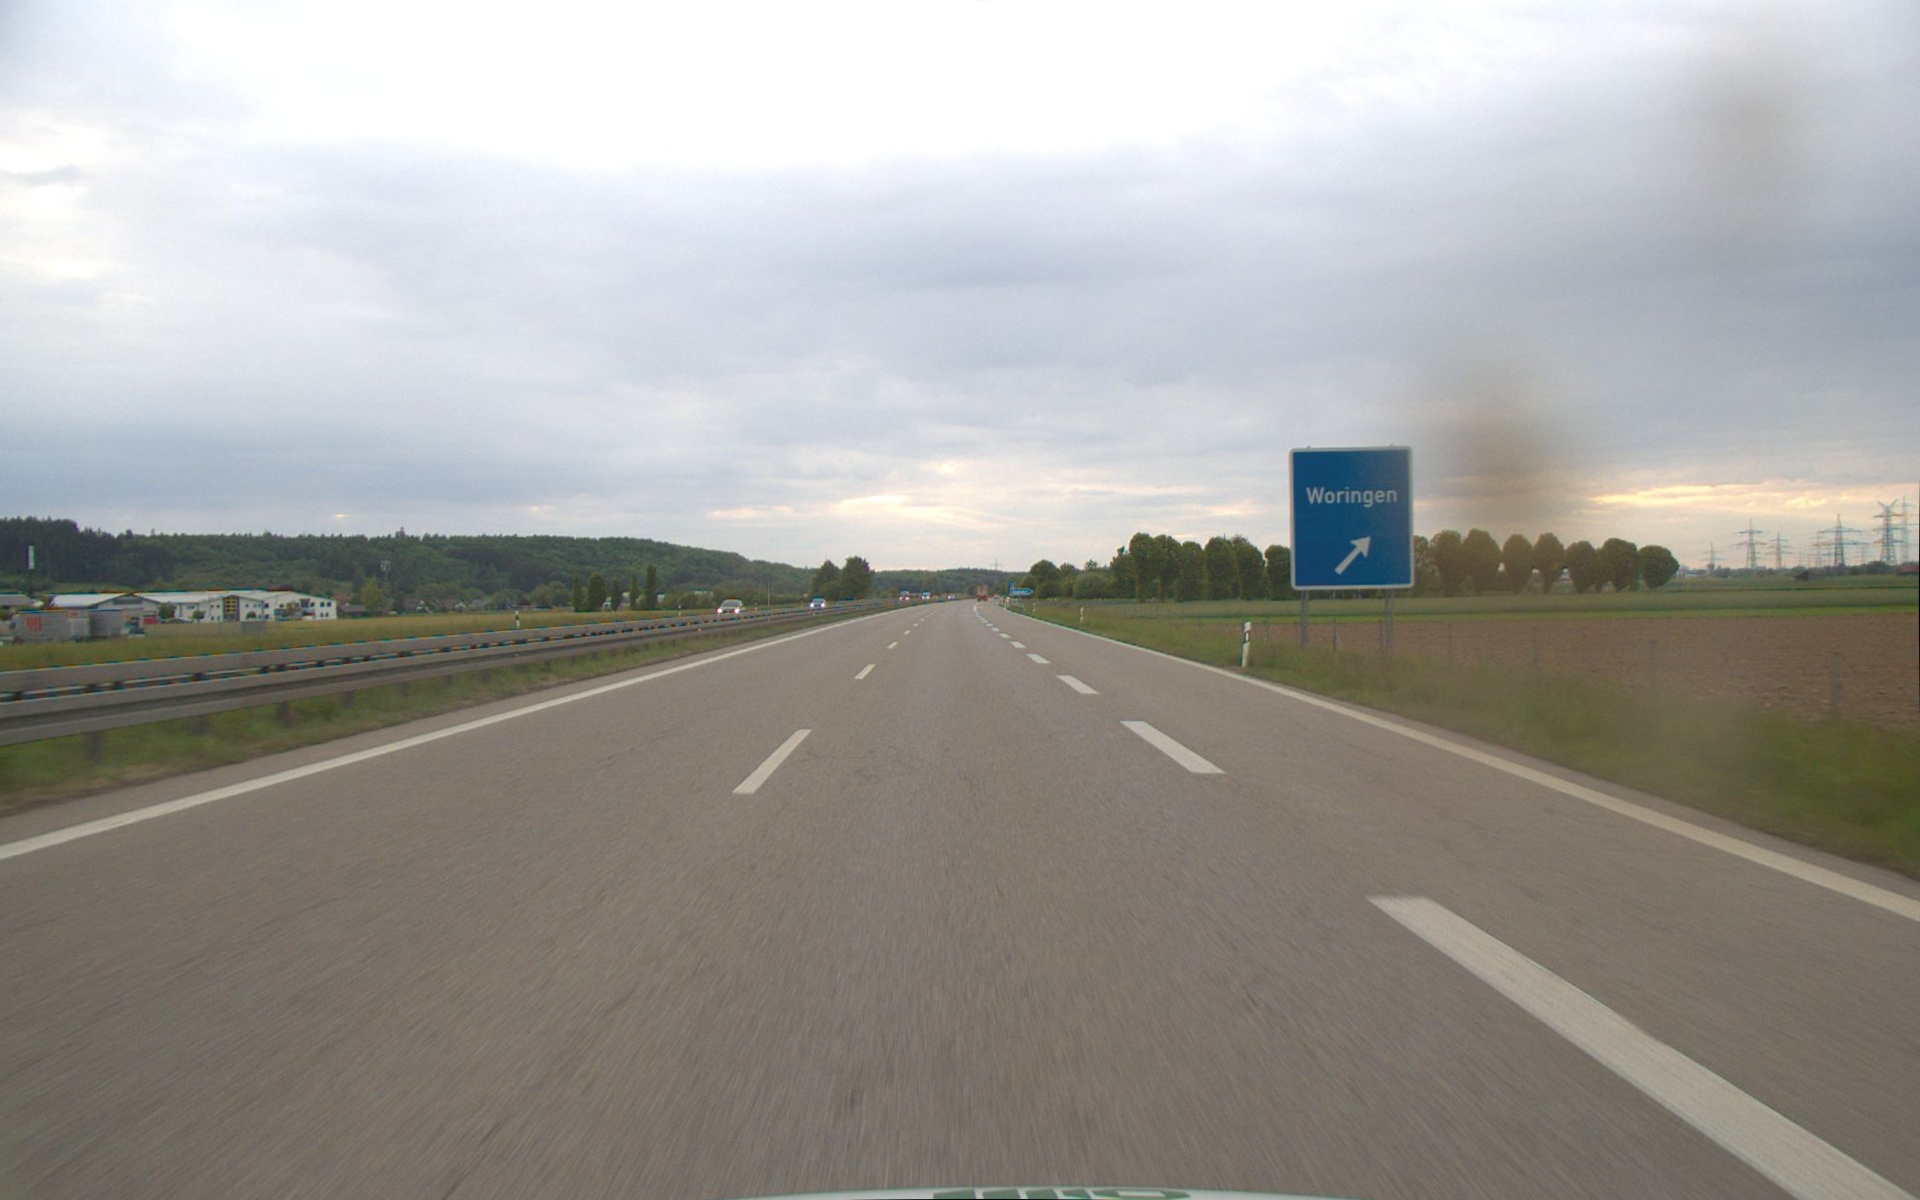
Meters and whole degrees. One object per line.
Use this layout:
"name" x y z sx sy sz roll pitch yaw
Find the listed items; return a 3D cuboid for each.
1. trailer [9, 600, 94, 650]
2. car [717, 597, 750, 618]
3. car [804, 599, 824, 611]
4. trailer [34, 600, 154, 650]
"trailer" -102.194 2.834 185.981 9.858 5.353 3.748 -2 -1 29
"car" -17.161 0.565 125.604 1.953 1.506 4.451 1 0 -1
"car" -17.570 0.594 199.392 1.953 1.441 4.523 1 0 0
"trailer" -99.144 2.934 189.212 16.656 5.225 3.564 -2 -1 29
